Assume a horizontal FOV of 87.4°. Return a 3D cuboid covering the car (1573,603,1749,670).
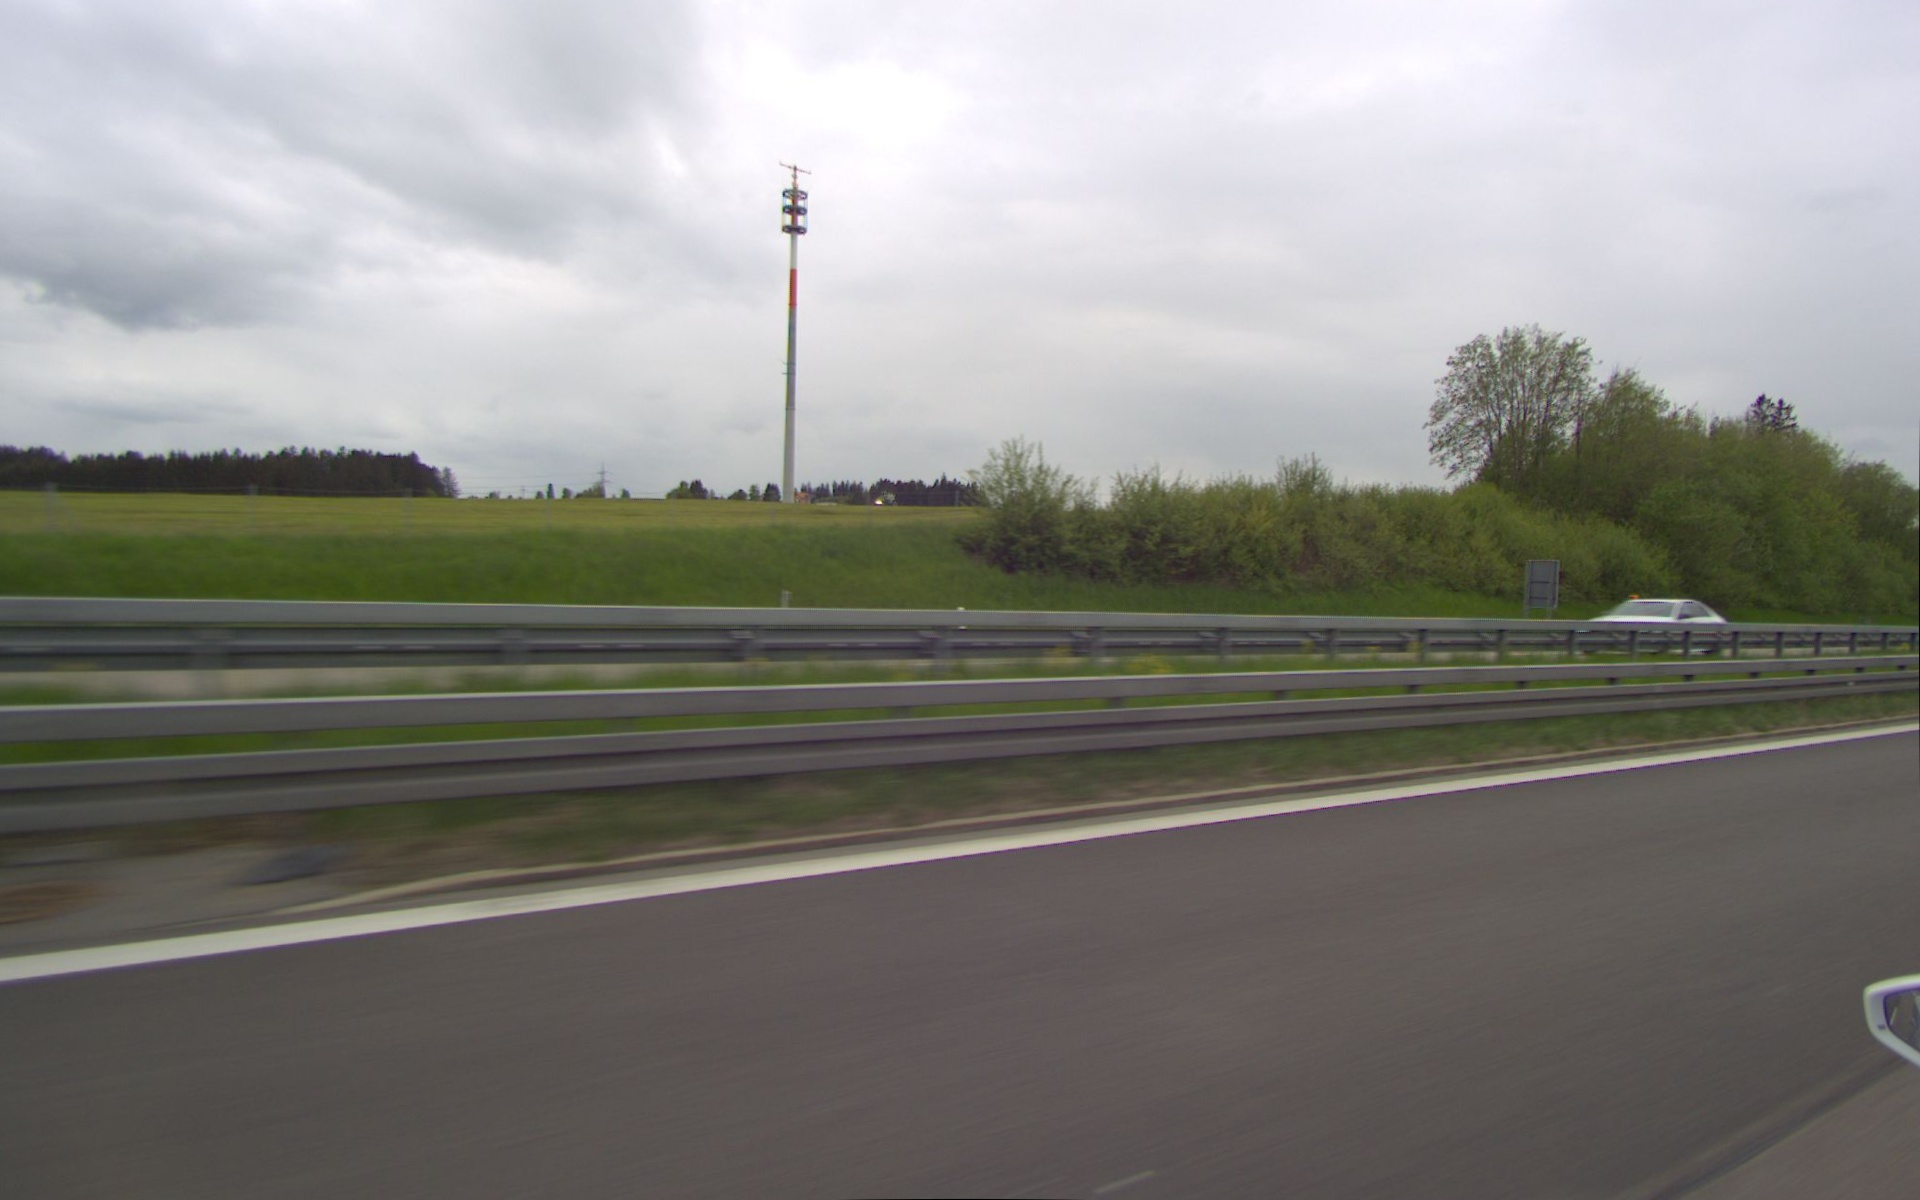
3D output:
[{"bbox_3d":[17.721,0.874,25.348,4.412,1.448,1.983,1,3,-31],"label":"car"}]
